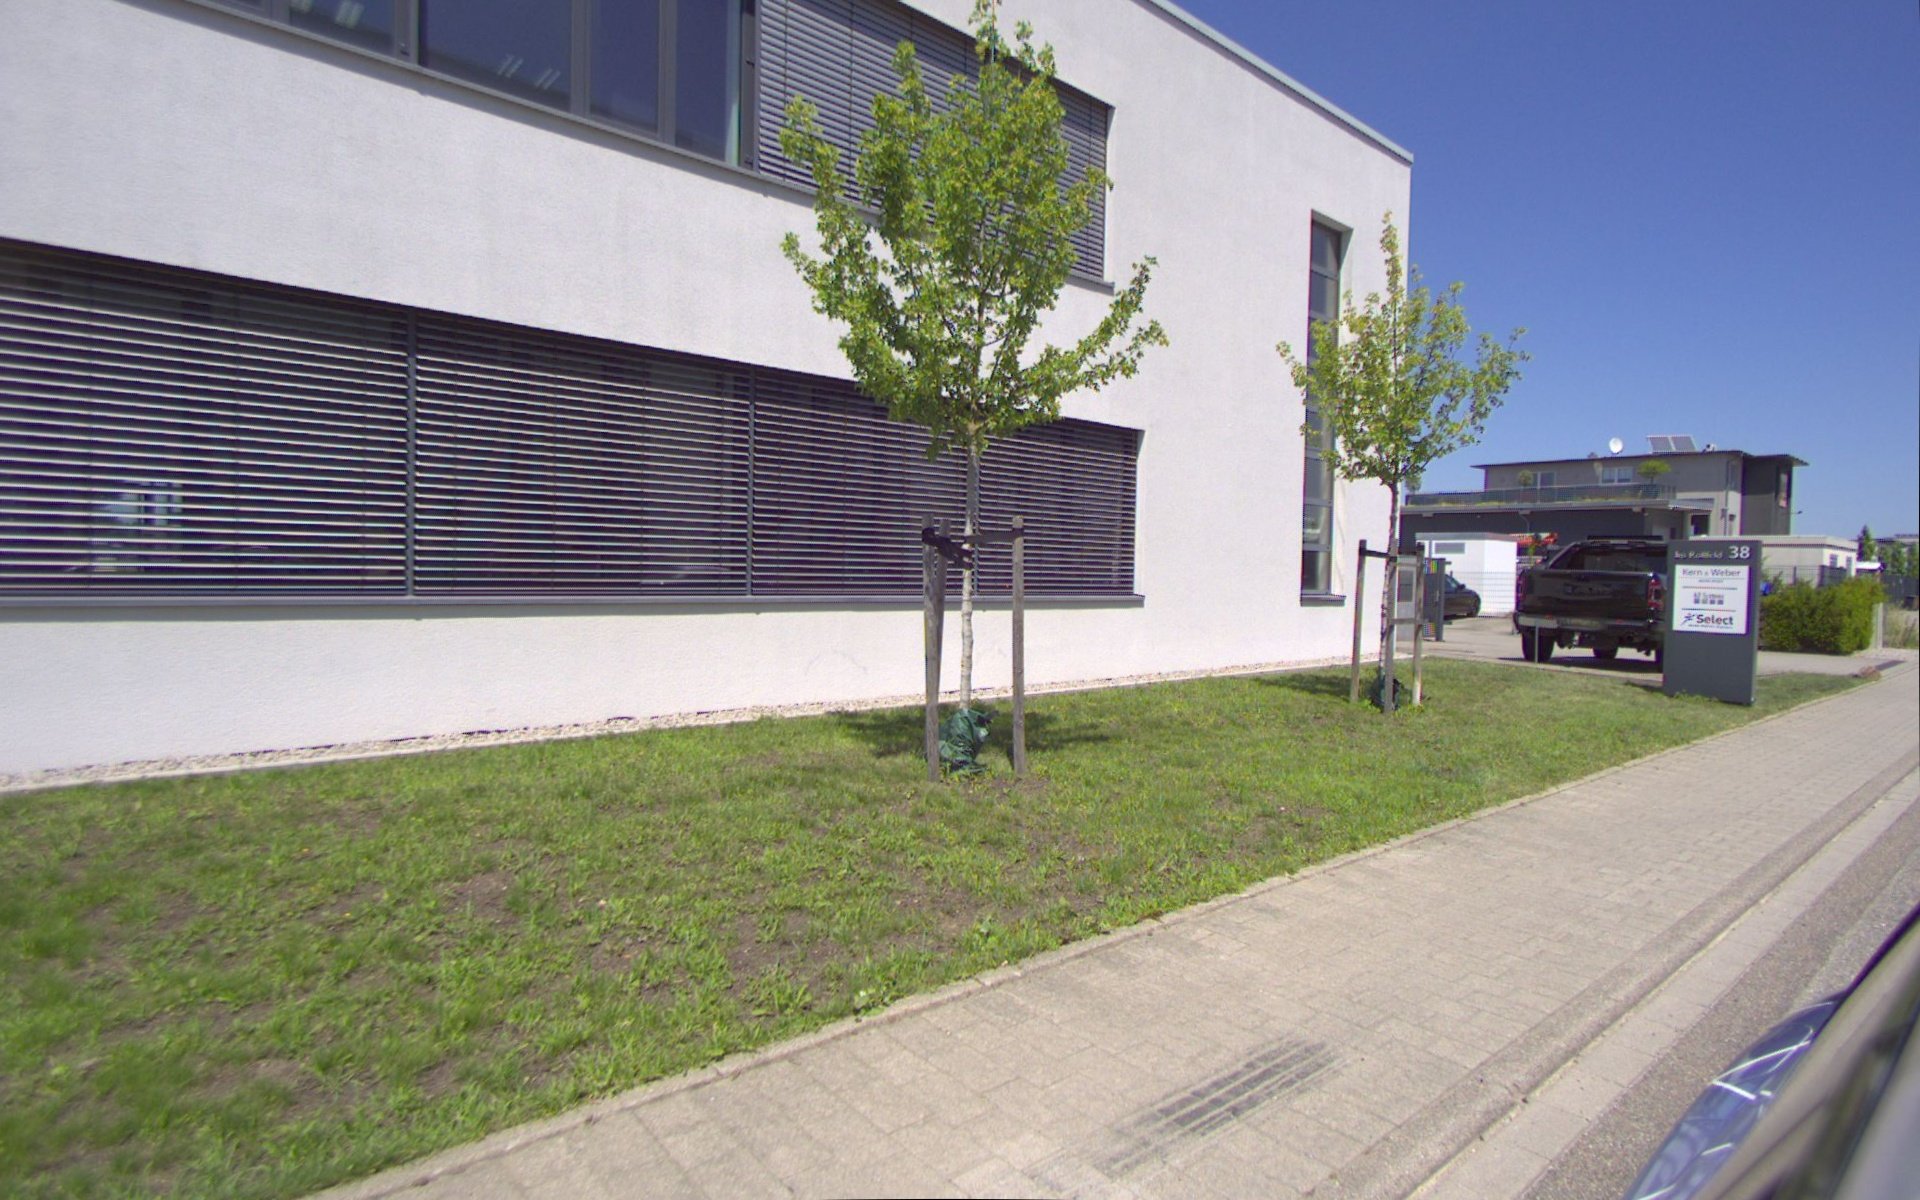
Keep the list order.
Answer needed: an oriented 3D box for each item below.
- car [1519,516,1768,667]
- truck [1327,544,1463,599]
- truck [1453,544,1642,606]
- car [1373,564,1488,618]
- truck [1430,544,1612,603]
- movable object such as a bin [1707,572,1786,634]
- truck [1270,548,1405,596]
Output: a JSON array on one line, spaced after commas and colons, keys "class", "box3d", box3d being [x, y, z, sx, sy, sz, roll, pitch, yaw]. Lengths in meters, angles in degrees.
[{"class": "car", "box3d": [11.197, -0.075, 16.366, 5.700, 2.039, 1.997, 2, 1, -42]}, {"class": "truck", "box3d": [25.650, -1.705, 59.945, 2.452, 3.059, 7.024, 0, 2, -40]}, {"class": "truck", "box3d": [31.058, -1.356, 53.888, 2.578, 3.059, 8.352, -1, 2, -40]}, {"class": "car", "box3d": [14.861, -0.330, 31.918, 3.931, 1.507, 1.859, -3, 4, -41]}, {"class": "truck", "box3d": [32.636, -1.592, 59.259, 2.642, 3.216, 8.964, 0, 2, -40]}, {"class": "movable object such as a bin", "box3d": [20.560, 0.065, 26.473, 1.150, 1.541, 1.386, 0, 3, -41]}, {"class": "truck", "box3d": [25.305, -1.935, 68.267, 2.642, 3.059, 8.352, -1, 2, -40]}]
